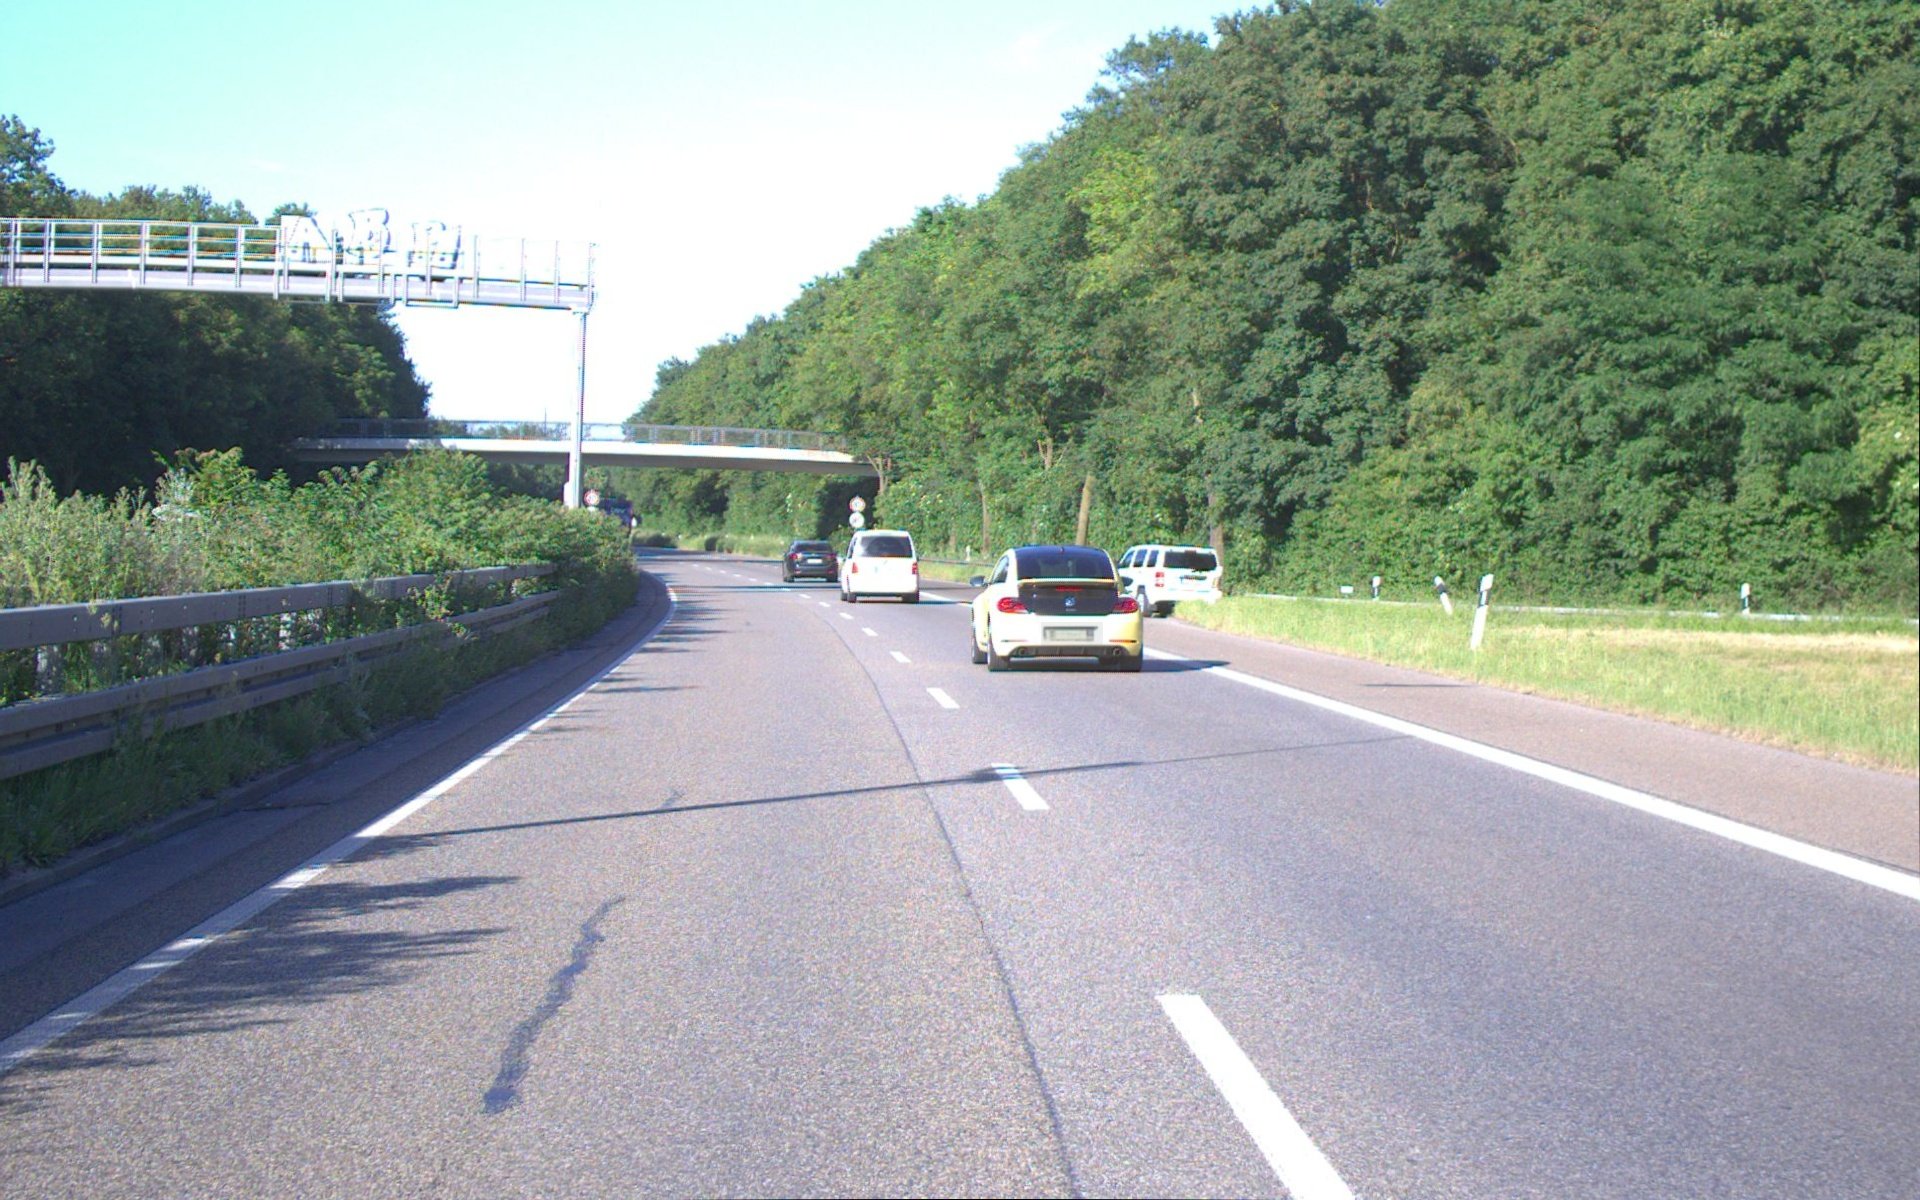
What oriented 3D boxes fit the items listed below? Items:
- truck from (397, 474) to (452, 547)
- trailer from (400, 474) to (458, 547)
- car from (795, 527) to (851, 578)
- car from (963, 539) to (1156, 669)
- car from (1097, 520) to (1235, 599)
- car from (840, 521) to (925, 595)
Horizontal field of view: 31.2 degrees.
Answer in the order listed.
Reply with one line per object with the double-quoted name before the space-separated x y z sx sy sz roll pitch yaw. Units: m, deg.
"truck" -30.489 -5.091 195.932 2.737 4.013 6.181 2 1 -6
"trailer" -31.203 -5.231 202.415 2.737 4.013 14.078 2 1 -6
"car" -4.839 -1.680 120.990 1.897 1.761 4.001 0 1 -4
"car" 1.137 0.013 41.058 1.897 1.466 4.001 0 1 -4
"car" 4.846 -0.976 81.463 1.896 1.817 4.001 0 1 -18
"car" -1.939 -1.014 85.028 1.897 1.761 4.000 0 0 -4
